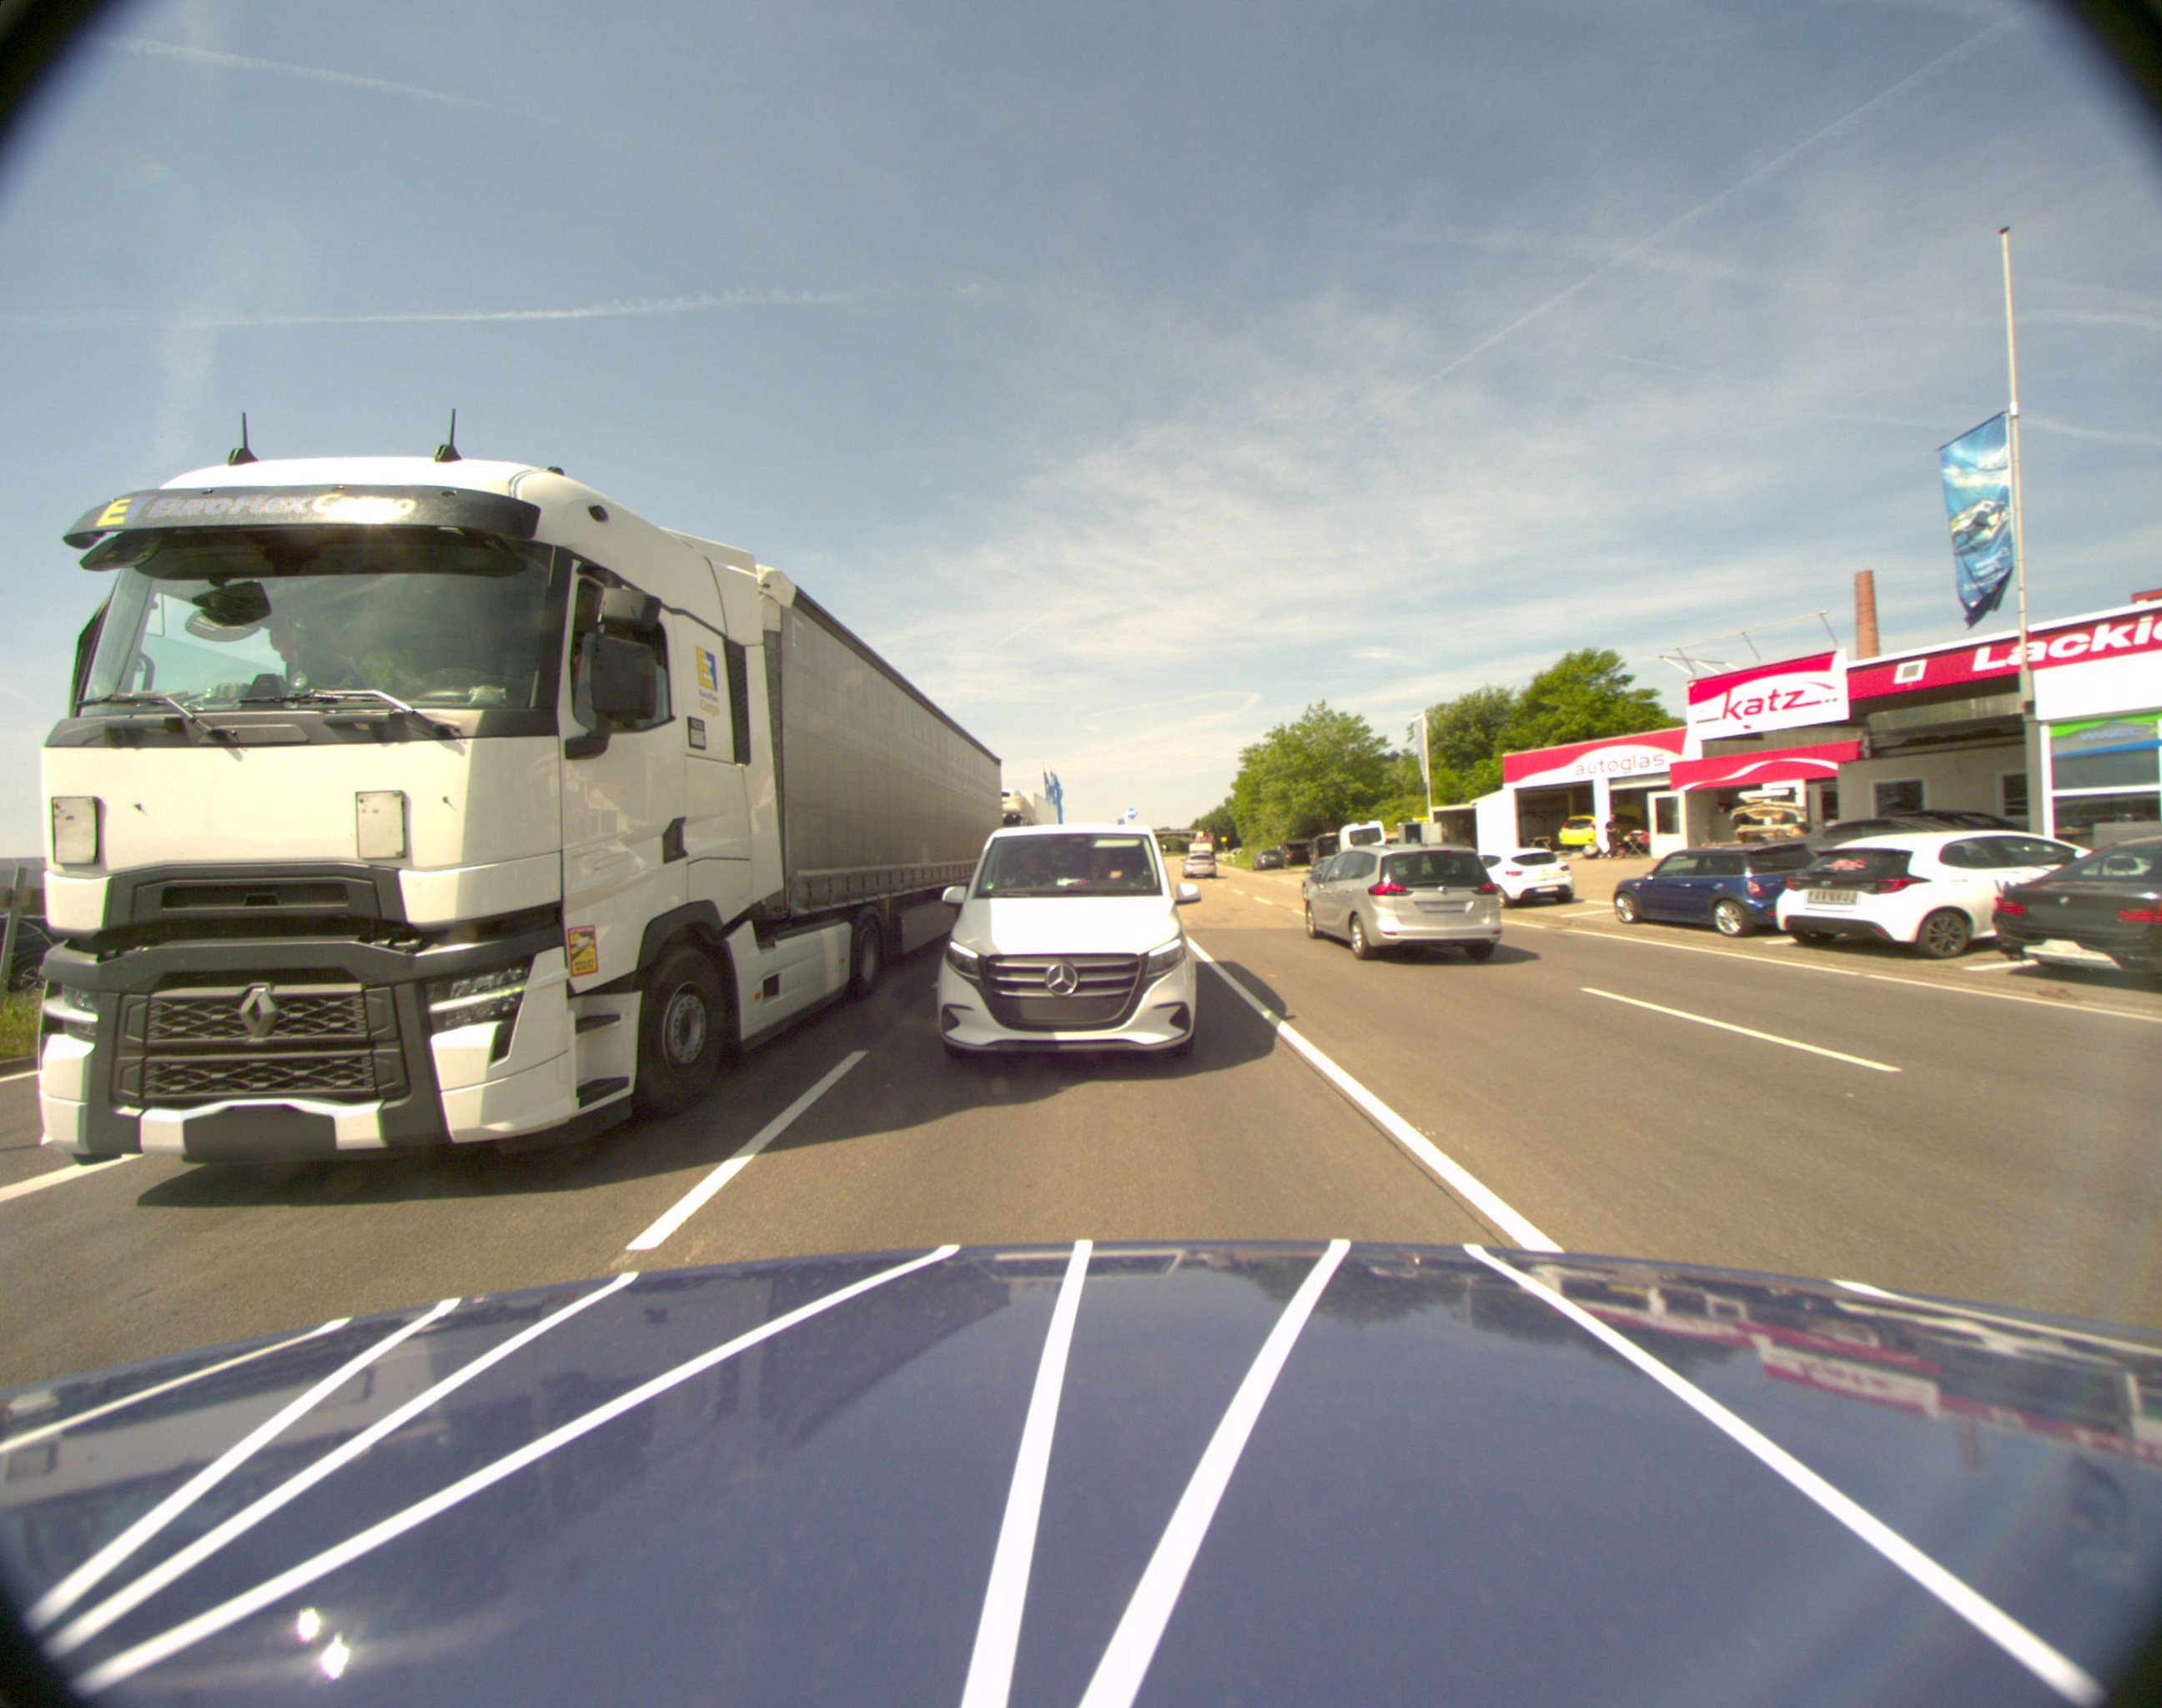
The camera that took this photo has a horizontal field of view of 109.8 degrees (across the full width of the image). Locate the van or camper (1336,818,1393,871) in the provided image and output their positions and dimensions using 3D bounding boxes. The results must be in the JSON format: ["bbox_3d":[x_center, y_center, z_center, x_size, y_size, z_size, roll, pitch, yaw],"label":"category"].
[{"bbox_3d":[15.336,-0.536,41.455,2.157,2.484,5.956,-6,0,15],"label":"van or camper"}]

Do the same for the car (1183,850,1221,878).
[{"bbox_3d":[7.156,0.558,45.327,1.913,1.512,4.783,-2,0,6],"label":"car"}]

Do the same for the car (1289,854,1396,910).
[{"bbox_3d":[7.746,0.771,22.914,1.841,1.440,4.081,-2,0,1],"label":"car"}]

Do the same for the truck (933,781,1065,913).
[{"bbox_3d":[-2.557,-0.248,28.113,2.886,3.789,11.143,-2,0,3],"label":"truck"}]

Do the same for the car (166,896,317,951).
[{"bbox_3d":[-30.264,2.486,27.442,3.648,1.641,1.755,-3,0,6],"label":"car"}]

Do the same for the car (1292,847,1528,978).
[{"bbox_3d":[4.768,0.733,11.762,1.914,1.653,4.180,-1,0,1],"label":"car"}]

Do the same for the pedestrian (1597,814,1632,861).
[{"bbox_3d":[20.831,-0.639,29.669,0.724,1.752,0.895,-3,1,4],"label":"pedestrian"}]

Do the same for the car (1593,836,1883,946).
[{"bbox_3d":[11.188,0.545,13.354,1.783,1.485,3.782,-6,0,2],"label":"car"}]

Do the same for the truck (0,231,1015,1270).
[{"bbox_3d":[-3.582,-0.436,11.534,2.897,4.241,16.710,-2,0,2],"label":"truck"}]

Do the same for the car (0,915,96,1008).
[{"bbox_3d":[-21.472,2.130,13.567,1.998,1.647,4.282,-3,0,4],"label":"car"}]

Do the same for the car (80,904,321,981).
[{"bbox_3d":[-21.200,2.064,18.544,1.562,1.401,3.596,-1,1,3],"label":"car"}]

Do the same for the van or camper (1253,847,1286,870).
[{"bbox_3d":[13.607,0.293,55.154,1.643,1.515,4.468,-3,1,6],"label":"van or camper"}]

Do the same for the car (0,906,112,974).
[{"bbox_3d":[-28.744,2.340,19.790,1.707,1.608,3.970,-3,0,6],"label":"car"}]

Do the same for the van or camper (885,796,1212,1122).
[{"bbox_3d":[-0.094,0.674,7.491,1.998,2.002,5.291,-3,0,3],"label":"van or camper"}]

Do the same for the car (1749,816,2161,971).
[{"bbox_3d":[11.714,0.470,10.192,3.806,1.516,1.846,-6,1,-2],"label":"car"}]

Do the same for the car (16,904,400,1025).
[{"bbox_3d":[-13.852,1.681,12.401,3.669,1.394,1.735,-3,0,-26],"label":"car"}]

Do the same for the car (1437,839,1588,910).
[{"bbox_3d":[11.222,0.477,20.098,1.783,1.608,4.000,-3,1,2],"label":"car"}]

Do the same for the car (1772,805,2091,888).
[{"bbox_3d":[18.955,-0.078,17.252,1.861,1.496,4.390,-5,-1,-22],"label":"car"}]

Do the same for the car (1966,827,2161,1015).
[{"bbox_3d":[11.486,0.501,7.361,3.717,1.516,1.792,-6,1,-2],"label":"car"}]

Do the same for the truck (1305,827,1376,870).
[{"bbox_3d":[16.644,-0.392,49.308,2.335,2.283,8.806,-7,0,7],"label":"truck"}]

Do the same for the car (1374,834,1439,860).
[{"bbox_3d":[20.943,-0.457,48.911,3.675,1.521,1.736,-3,1,-22],"label":"car"}]

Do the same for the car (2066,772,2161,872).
[{"bbox_3d":[20.573,-0.649,13.287,1.706,1.749,3.754,-6,2,-25],"label":"car"}]

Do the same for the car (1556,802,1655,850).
[{"bbox_3d":[22.970,-1.221,33.279,3.674,1.715,1.736,-6,2,-21],"label":"car"}]

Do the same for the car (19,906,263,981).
[{"bbox_3d":[-23.400,2.173,19.152,1.562,1.401,3.596,-1,1,3],"label":"car"}]

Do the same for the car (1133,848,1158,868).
[{"bbox_3d":[5.310,0.323,62.794,1.810,1.551,4.387,-2,0,2],"label":"car"}]

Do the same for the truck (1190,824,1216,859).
[{"bbox_3d":[15.347,-1.527,95.352,2.961,4.184,10.655,0,0,10],"label":"truck"}]
